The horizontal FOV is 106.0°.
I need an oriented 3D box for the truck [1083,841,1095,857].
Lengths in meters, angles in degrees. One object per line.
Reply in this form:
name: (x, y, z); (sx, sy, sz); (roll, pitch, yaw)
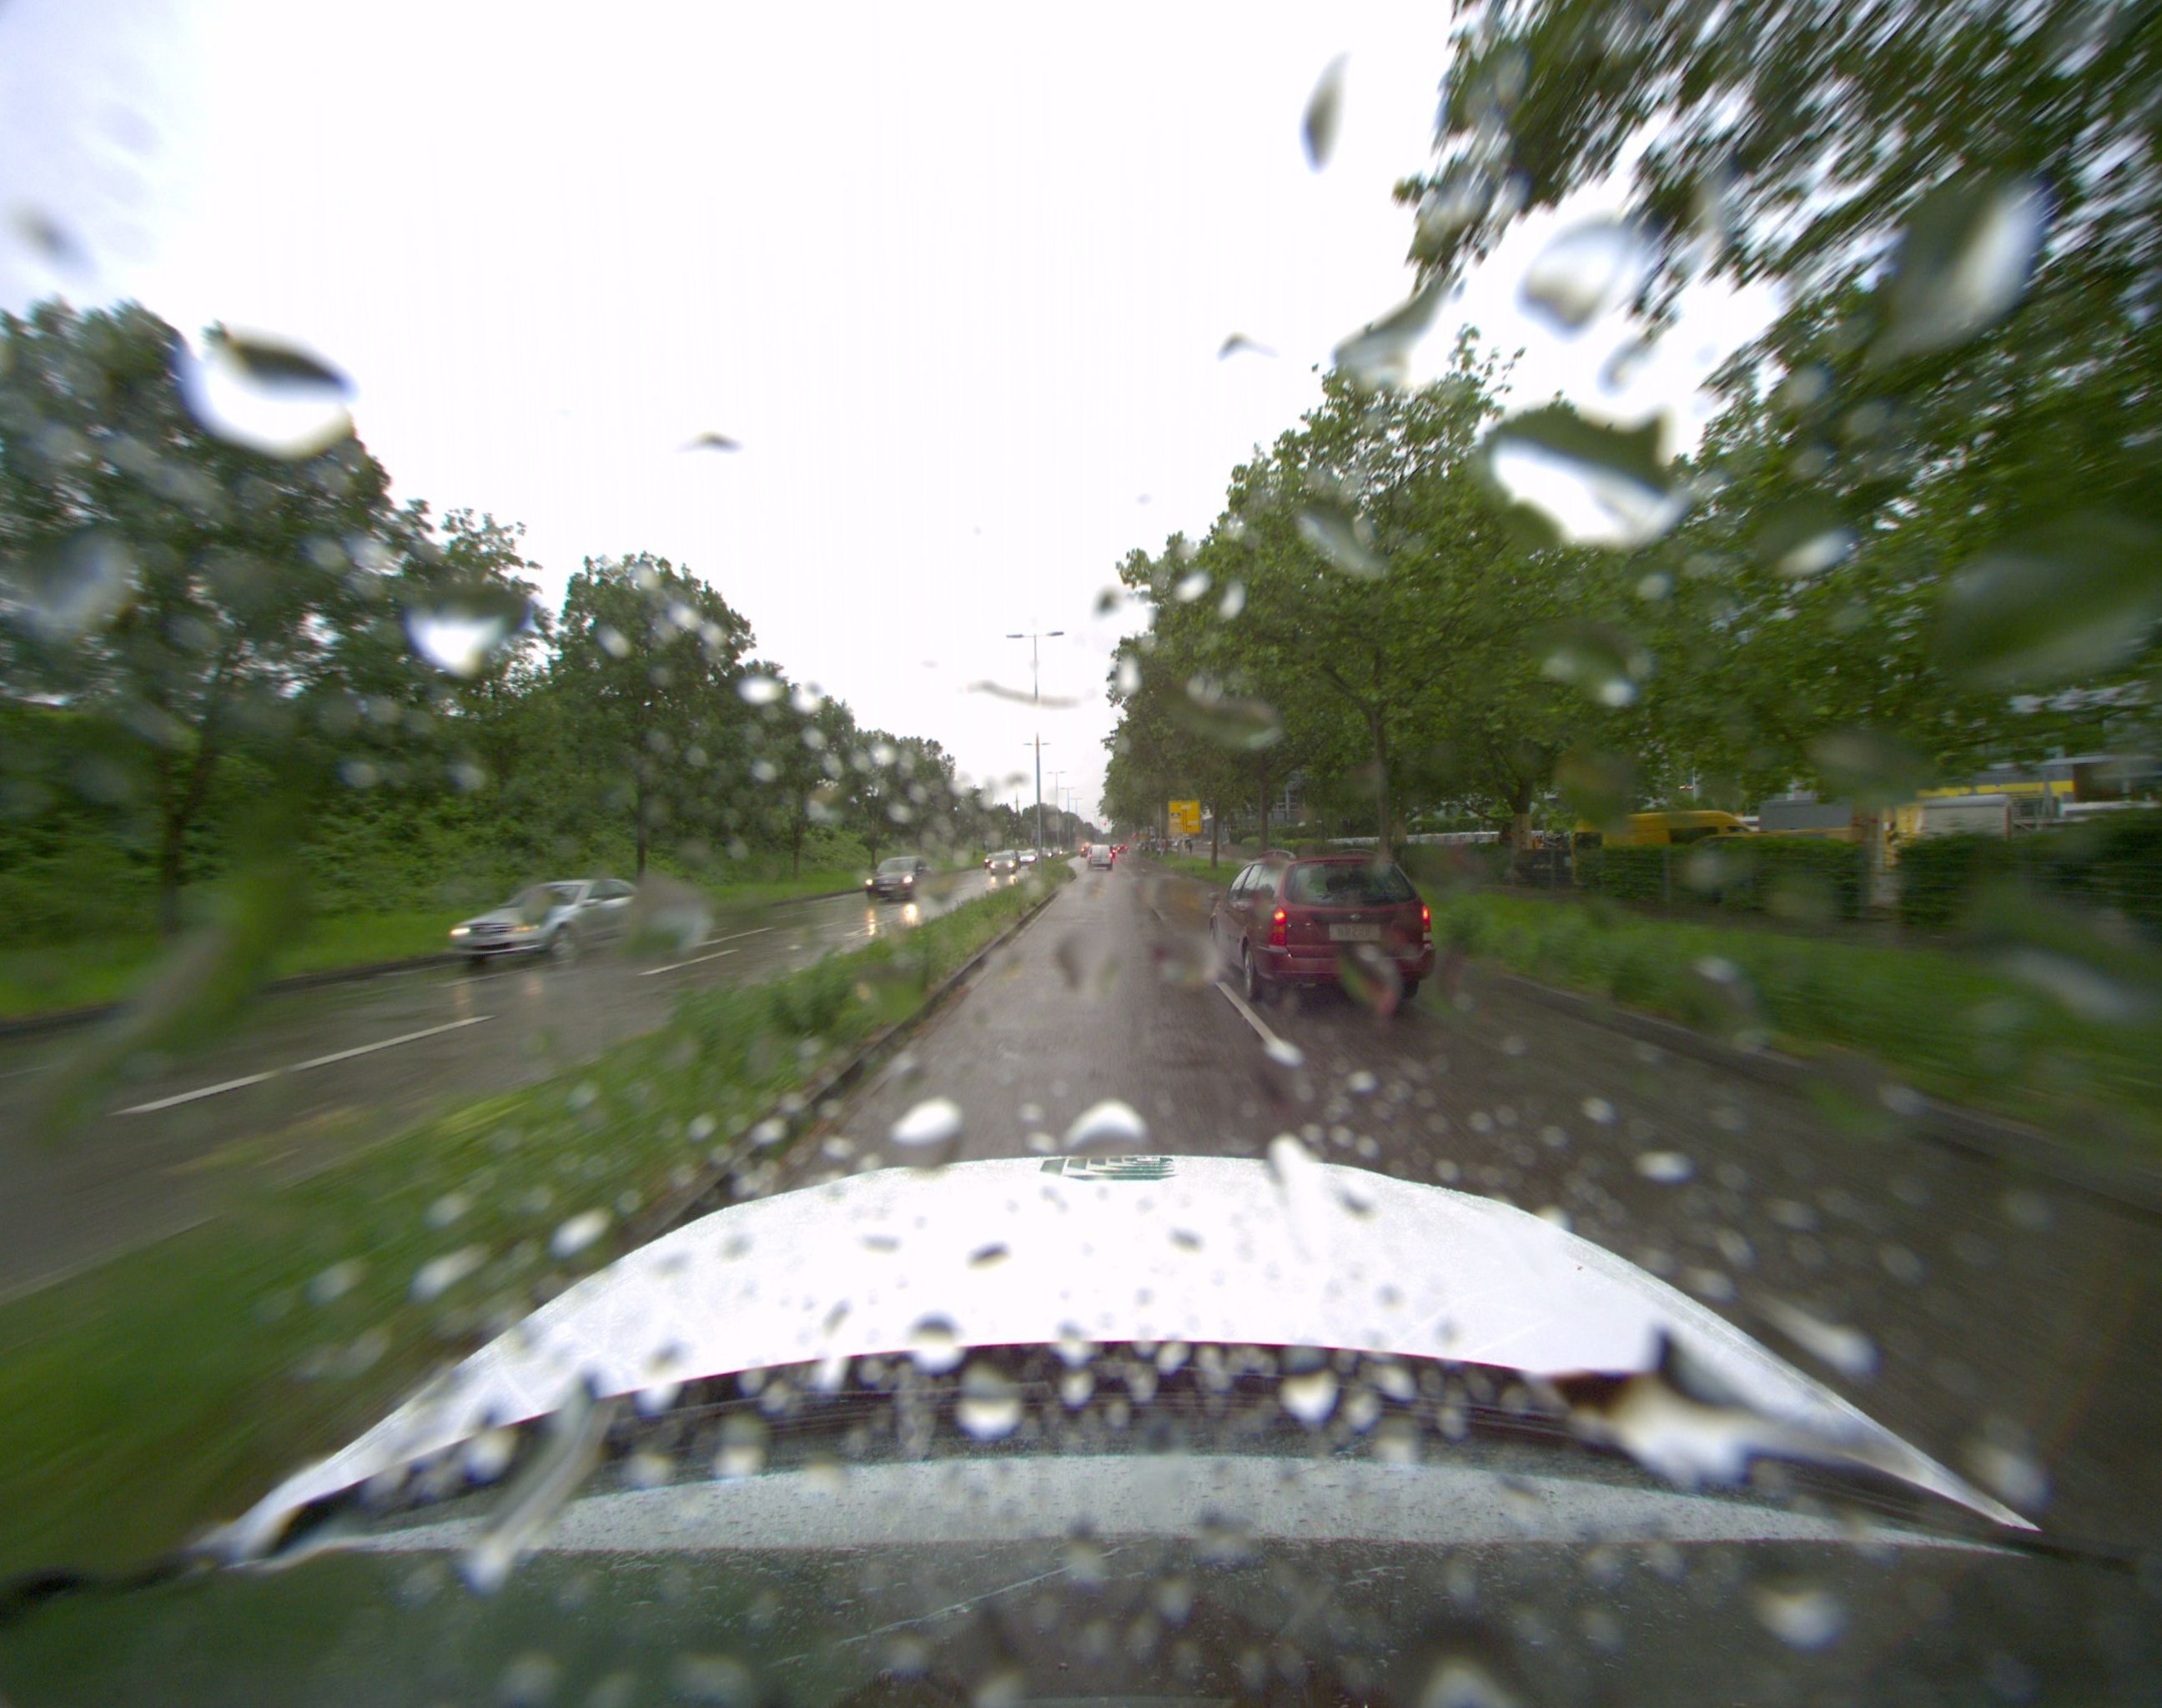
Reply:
truck: (1.268, -0.778, 128.197); (1.751, 2.466, 4.000); (-1, 0, 0)

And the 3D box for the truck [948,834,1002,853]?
truck: (-20.041, -1.990, 154.333); (10.184, 3.452, 2.629); (0, -1, -35)

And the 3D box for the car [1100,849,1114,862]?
car: (3.373, 0.200, 106.049); (1.703, 1.549, 4.000); (-1, 1, 0)

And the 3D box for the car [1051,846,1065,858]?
car: (-3.672, -0.329, 131.118); (1.817, 1.574, 4.364); (3, 5, 2)

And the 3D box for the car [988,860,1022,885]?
car: (-5.359, 1.268, 57.986); (1.892, 1.613, 4.112); (-2, 0, 1)

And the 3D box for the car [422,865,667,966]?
car: (-10.512, 1.099, 16.460); (1.892, 1.613, 4.478); (-2, 0, 0)

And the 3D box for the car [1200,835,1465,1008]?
car: (2.559, 0.604, 9.362); (1.833, 1.536, 4.112); (0, 0, 1)

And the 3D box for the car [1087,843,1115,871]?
car: (1.459, 0.241, 60.145); (1.987, 2.014, 3.999); (-1, -1, 0)

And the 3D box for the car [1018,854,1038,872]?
car: (-5.244, 0.899, 81.205); (1.904, 1.574, 4.703); (-4, 0, -3)

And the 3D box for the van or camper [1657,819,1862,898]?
van or camper: (17.685, 0.099, 21.339); (3.978, 1.907, 1.800); (-1, 0, -3)

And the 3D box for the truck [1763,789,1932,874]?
truck: (31.356, -0.787, 33.150); (9.540, 3.032, 3.048); (0, -1, -35)

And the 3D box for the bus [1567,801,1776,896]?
bus: (17.641, -0.165, 24.501); (4.773, 2.647, 2.001); (-1, 0, 2)

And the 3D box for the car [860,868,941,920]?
car: (-6.795, 1.467, 31.071); (1.891, 1.613, 4.114); (-4, 0, 3)

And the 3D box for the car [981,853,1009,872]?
car: (-8.411, 0.836, 79.652); (1.986, 1.687, 4.711); (-3, 0, 2)

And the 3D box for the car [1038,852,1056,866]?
car: (-4.469, 0.610, 107.240); (1.901, 1.574, 4.711); (-5, 0, 2)
